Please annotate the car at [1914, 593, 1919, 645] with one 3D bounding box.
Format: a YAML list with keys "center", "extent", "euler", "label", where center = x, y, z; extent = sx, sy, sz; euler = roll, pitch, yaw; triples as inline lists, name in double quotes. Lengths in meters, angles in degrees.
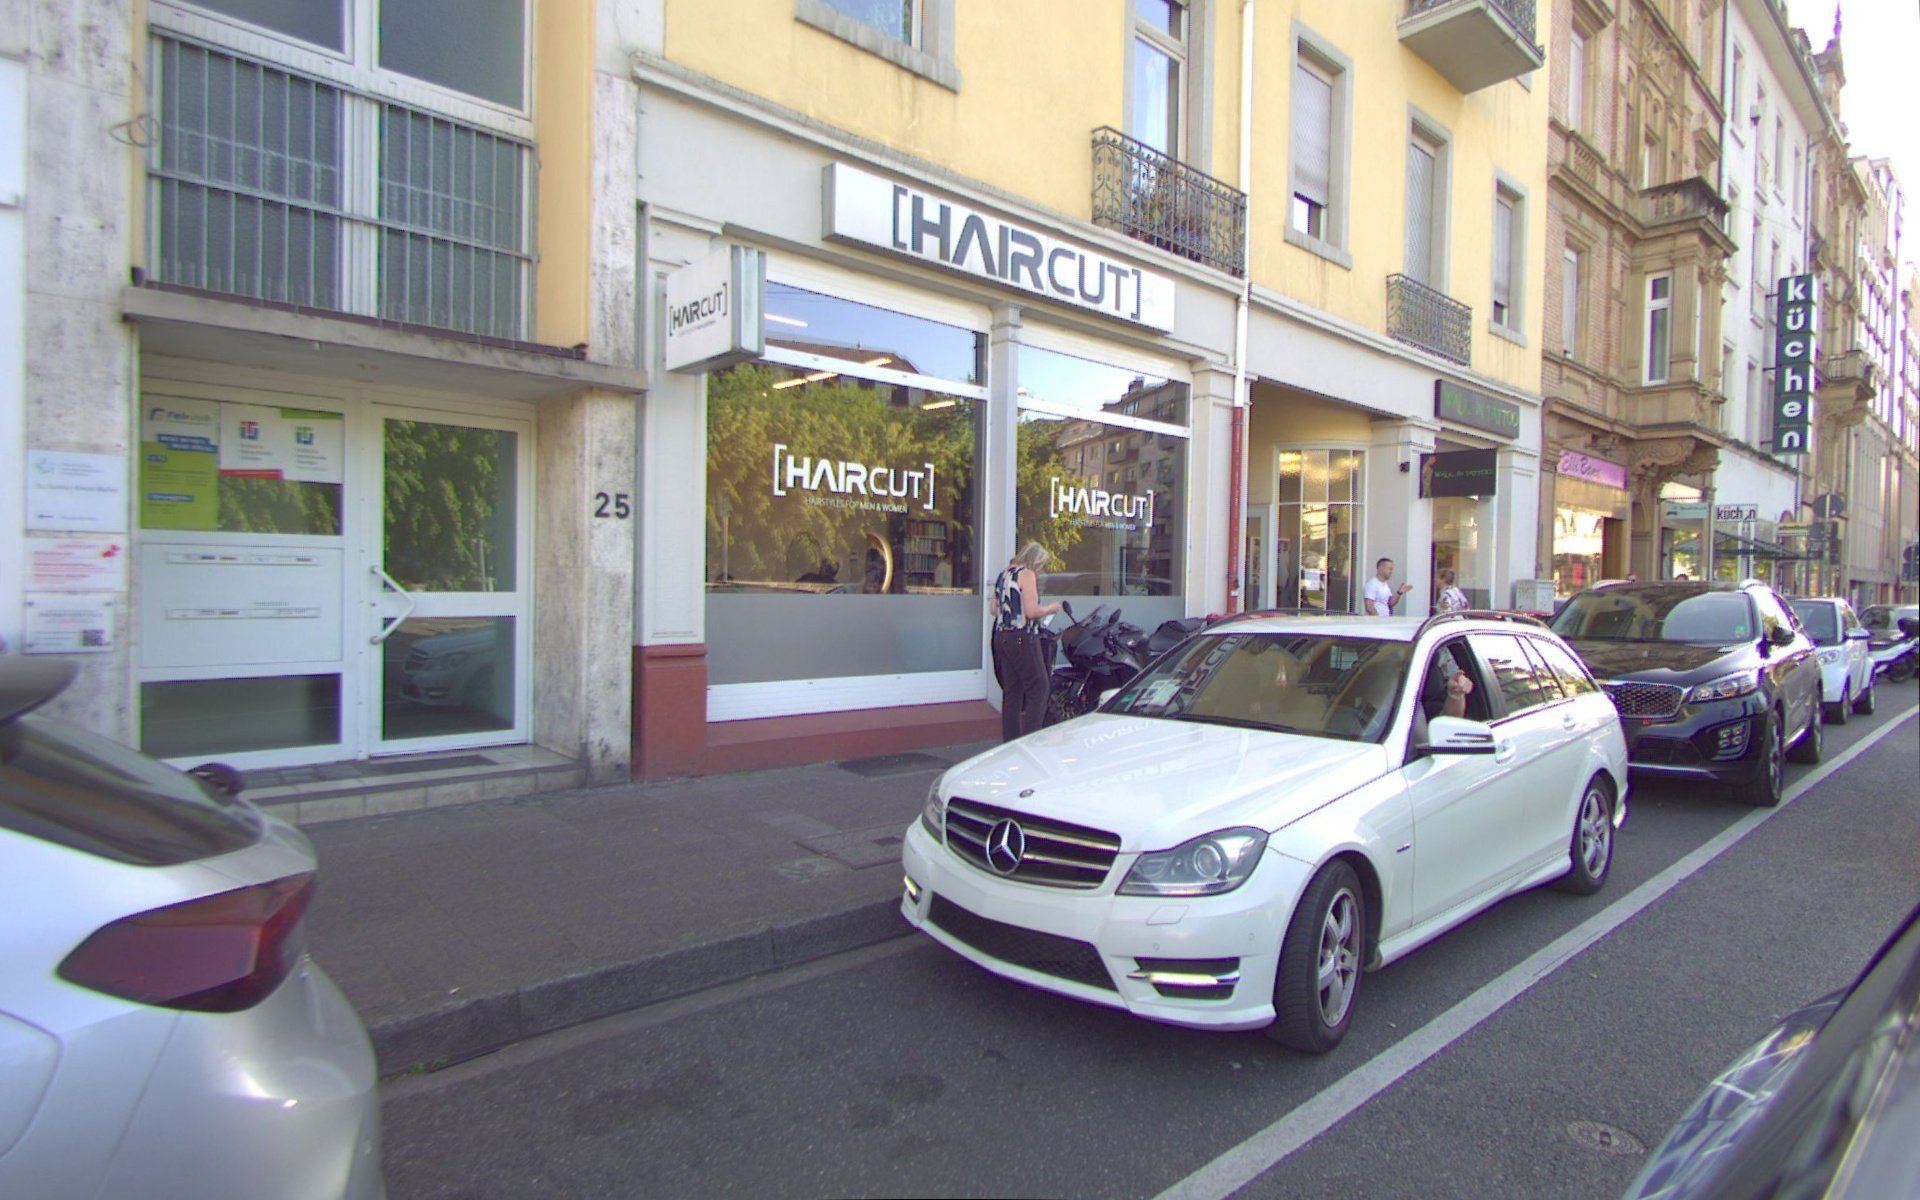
- center: [28.087, 0.525, 28.275]
  extent: [3.736, 1.435, 1.736]
  euler: [0, 1, -41]
  label: "car"

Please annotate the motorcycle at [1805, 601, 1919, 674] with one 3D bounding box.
- center: [17.279, 0.682, 18.912]
  extent: [2.137, 1.295, 0.866]
  euler: [1, 0, 8]
  label: "motorcycle"

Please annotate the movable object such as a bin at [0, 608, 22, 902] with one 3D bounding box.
- center: [-4.111, 0.600, 3.964]
  extent: [0.608, 1.080, 0.704]
  euler: [0, 4, -41]
  label: "movable object such as a bin"

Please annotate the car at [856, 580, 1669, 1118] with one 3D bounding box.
- center: [1.786, 0.661, 4.892]
  extent: [4.387, 1.465, 1.741]
  euler: [0, 1, -42]
  label: "car"

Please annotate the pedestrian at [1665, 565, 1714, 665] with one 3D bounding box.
- center: [12.232, 0.248, 16.973]
  extent: [0.406, 1.653, 0.516]
  euler: [0, 0, -14]
  label: "pedestrian"

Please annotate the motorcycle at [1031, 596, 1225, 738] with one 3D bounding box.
- center: [1.518, 0.529, 8.908]
  extent: [1.975, 1.105, 0.551]
  euler: [0, 2, -42]
  label: "motorcycle"

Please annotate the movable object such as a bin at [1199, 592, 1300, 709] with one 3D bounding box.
- center: [2.831, 0.474, 9.909]
  extent: [0.608, 1.054, 0.662]
  euler: [1, 3, -38]
  label: "movable object such as a bin"

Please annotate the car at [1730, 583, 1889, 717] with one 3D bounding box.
- center: [11.036, 0.564, 13.099]
  extent: [2.748, 1.537, 1.273]
  euler: [0, 1, -44]
  label: "car"

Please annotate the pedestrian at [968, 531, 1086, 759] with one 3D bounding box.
- center: [0.510, 0.311, 7.783]
  extent: [0.523, 1.653, 0.697]
  euler: [0, 2, -42]
  label: "pedestrian"

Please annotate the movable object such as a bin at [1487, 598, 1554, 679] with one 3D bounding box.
- center: [8.022, 0.535, 14.492]
  extent: [0.608, 1.079, 0.606]
  euler: [0, 4, -41]
  label: "movable object such as a bin"

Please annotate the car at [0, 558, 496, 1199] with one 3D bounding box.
- center: [-2.743, 0.664, 0.805]
  extent: [4.010, 1.445, 1.672]
  euler: [0, 1, -44]
  label: "car"

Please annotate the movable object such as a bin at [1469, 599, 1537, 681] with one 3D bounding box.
- center: [7.564, 0.541, 14.099]
  extent: [0.608, 1.079, 0.606]
  euler: [0, 4, -41]
  label: "movable object such as a bin"

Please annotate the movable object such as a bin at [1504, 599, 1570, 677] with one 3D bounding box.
- center: [8.493, 0.543, 14.898]
  extent: [0.608, 1.079, 0.606]
  euler: [0, 4, -41]
  label: "movable object such as a bin"

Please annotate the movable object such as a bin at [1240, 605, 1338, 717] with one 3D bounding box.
- center: [3.343, 0.596, 10.293]
  extent: [0.608, 1.037, 0.669]
  euler: [1, 3, -38]
  label: "movable object such as a bin"

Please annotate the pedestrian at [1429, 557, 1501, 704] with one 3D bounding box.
- center: [5.936, 0.341, 11.912]
  extent: [0.582, 1.681, 0.451]
  euler: [2, 1, 7]
  label: "pedestrian"

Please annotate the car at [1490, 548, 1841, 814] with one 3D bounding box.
- center: [6.375, 0.511, 8.912]
  extent: [4.498, 1.758, 1.756]
  euler: [0, 1, -45]
  label: "car"

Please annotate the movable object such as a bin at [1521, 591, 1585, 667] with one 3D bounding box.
- center: [8.964, 0.419, 15.297]
  extent: [0.608, 1.079, 0.606]
  euler: [0, 4, -41]
  label: "movable object such as a bin"

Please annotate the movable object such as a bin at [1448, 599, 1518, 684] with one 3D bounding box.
- center: [7.074, 0.546, 13.693]
  extent: [0.608, 1.079, 0.606]
  euler: [0, 4, -41]
  label: "movable object such as a bin"

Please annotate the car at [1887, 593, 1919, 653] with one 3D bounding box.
- center: [24.613, 0.548, 25.281]
  extent: [3.736, 1.435, 1.736]
  euler: [0, 1, -41]
  label: "car"

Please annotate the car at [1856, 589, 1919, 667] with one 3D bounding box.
- center: [20.420, 0.552, 21.497]
  extent: [4.096, 1.537, 1.734]
  euler: [0, 1, -44]
  label: "car"

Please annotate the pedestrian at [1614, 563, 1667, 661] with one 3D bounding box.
- center: [11.715, 0.204, 17.437]
  extent: [0.454, 1.653, 0.619]
  euler: [0, 0, -33]
  label: "pedestrian"

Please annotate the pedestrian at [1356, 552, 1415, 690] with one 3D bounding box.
- center: [5.265, 0.258, 12.528]
  extent: [0.513, 1.681, 0.339]
  euler: [1, 2, -18]
  label: "pedestrian"
